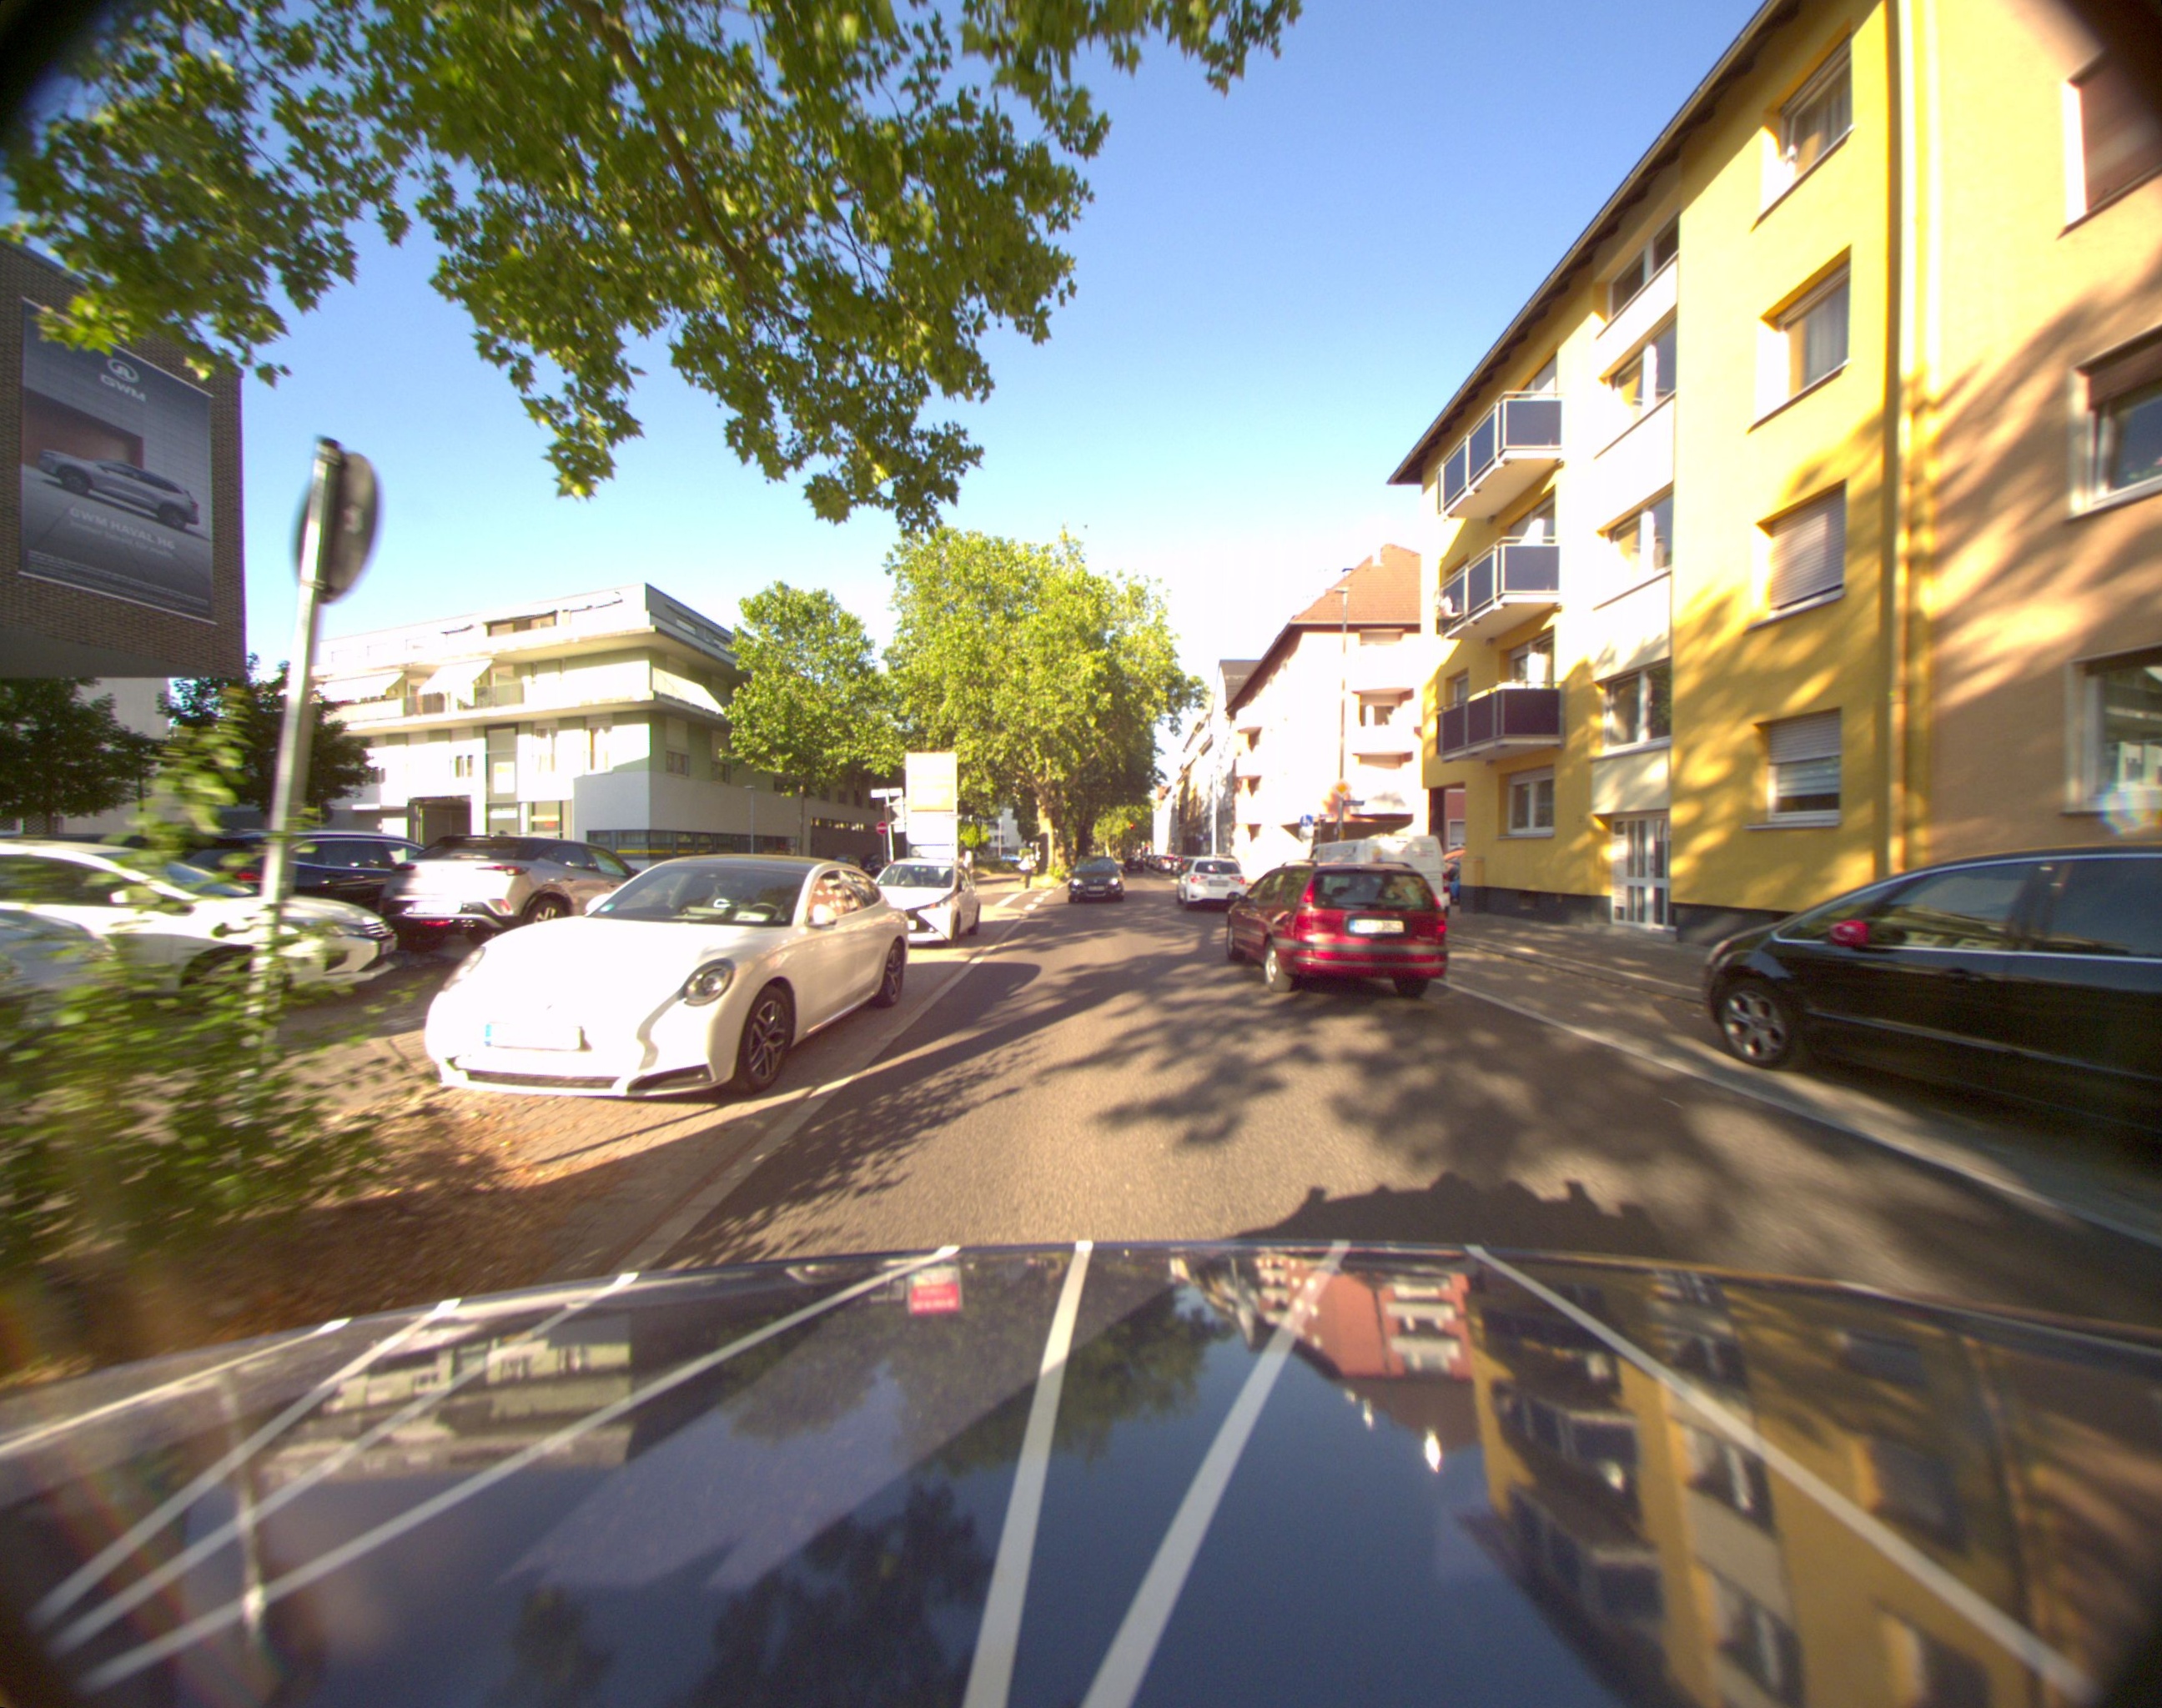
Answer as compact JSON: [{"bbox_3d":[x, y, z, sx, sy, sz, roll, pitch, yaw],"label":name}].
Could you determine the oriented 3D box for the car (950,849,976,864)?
[{"bbox_3d":[-12.214,0.241,78.641,1.863,1.534,4.320,0,0,2],"label":"car"}]

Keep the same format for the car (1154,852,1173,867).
[{"bbox_3d":[8.311,0.543,76.969,1.681,1.487,3.872,-2,0,3],"label":"car"}]

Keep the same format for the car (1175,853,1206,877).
[{"bbox_3d":[7.112,0.685,49.620,1.681,1.478,3.602,-2,0,3],"label":"car"}]

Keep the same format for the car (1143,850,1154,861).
[{"bbox_3d":[11.328,0.184,127.538,1.668,1.808,4.006,-2,0,4],"label":"car"}]

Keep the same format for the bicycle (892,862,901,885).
[{"bbox_3d":[-8.557,0.888,35.310,0.384,0.998,1.484,0,1,-14],"label":"bicycle"}]

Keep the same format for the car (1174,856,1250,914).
[{"bbox_3d":[3.750,0.838,22.380,1.643,1.515,3.934,-1,0,1],"label":"car"}]

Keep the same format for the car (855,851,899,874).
[{"bbox_3d":[-13.926,0.550,52.033,1.863,1.543,3.760,0,0,2],"label":"car"}]

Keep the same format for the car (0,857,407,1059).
[{"bbox_3d":[-8.616,0.808,6.643,3.826,1.536,1.658,0,1,-32],"label":"car"}]

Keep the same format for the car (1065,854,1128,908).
[{"bbox_3d":[0.588,0.796,24.761,1.844,1.536,4.525,-2,0,3],"label":"car"}]

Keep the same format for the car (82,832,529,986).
[{"bbox_3d":[-10.269,0.611,10.695,1.830,1.721,4.367,0,0,-1],"label":"car"}]

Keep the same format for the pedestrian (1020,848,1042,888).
[{"bbox_3d":[-2.229,0.631,33.717,0.771,1.751,0.662,2,1,-18],"label":"pedestrian"}]

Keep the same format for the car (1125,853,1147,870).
[{"bbox_3d":[4.975,0.646,69.240,1.775,1.470,4.322,-2,0,2],"label":"car"}]

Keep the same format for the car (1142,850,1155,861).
[{"bbox_3d":[10.890,0.206,121.943,1.910,1.663,4.494,-2,0,6],"label":"car"}]

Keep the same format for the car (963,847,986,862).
[{"bbox_3d":[-12.271,0.056,87.901,1.909,1.760,4.320,0,0,2],"label":"car"}]

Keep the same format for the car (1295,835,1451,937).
[{"bbox_3d":[6.220,0.595,16.895,1.738,1.896,5.210,-1,0,3],"label":"car"}]

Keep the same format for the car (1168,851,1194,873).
[{"bbox_3d":[7.940,0.641,60.403,1.681,1.632,3.985,-2,0,3],"label":"car"}]

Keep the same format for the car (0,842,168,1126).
[{"bbox_3d":[-8.118,0.704,4.034,3.826,1.600,1.737,1,0,-33],"label":"car"}]

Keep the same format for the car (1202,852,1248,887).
[{"bbox_3d":[6.923,0.708,36.859,1.681,1.515,4.021,-2,0,3],"label":"car"}]

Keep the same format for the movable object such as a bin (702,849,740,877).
[{"bbox_3d":[-18.918,0.467,39.991,1.195,1.454,1.409,0,1,14],"label":"movable object such as a bin"}]

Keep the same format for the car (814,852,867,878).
[{"bbox_3d":[-14.209,0.627,45.120,1.864,1.460,4.123,0,0,0],"label":"car"}]

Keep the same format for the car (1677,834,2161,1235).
[{"bbox_3d":[5.700,0.792,3.876,1.749,1.777,4.549,-2,0,0],"label":"car"}]

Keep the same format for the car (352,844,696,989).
[{"bbox_3d":[-7.445,0.709,10.801,1.756,1.660,4.158,0,0,1],"label":"car"}]

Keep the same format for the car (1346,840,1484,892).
[{"bbox_3d":[13.543,0.466,31.026,4.757,2.002,1.920,0,1,3],"label":"car"}]

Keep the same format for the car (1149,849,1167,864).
[{"bbox_3d":[8.393,0.221,82.957,1.681,1.575,4.200,-2,0,3],"label":"car"}]

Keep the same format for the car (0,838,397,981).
[{"bbox_3d":[-12.667,0.641,11.022,1.731,1.675,4.180,0,0,-1],"label":"car"}]

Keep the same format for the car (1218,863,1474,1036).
[{"bbox_3d":[2.890,0.927,9.364,1.667,1.515,4.412,1,0,1],"label":"car"}]

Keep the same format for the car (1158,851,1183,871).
[{"bbox_3d":[7.729,0.576,66.034,1.912,1.632,4.578,-2,0,3],"label":"car"}]

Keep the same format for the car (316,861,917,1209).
[{"bbox_3d":[-2.828,0.922,6.072,1.814,1.530,4.583,3,1,2],"label":"car"}]

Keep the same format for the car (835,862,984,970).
[{"bbox_3d":[-2.807,0.942,13.278,1.639,1.459,4.020,2,1,0],"label":"car"}]

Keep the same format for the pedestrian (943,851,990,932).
[{"bbox_3d":[-2.496,0.797,16.571,0.723,1.713,0.692,0,1,-44],"label":"pedestrian"}]

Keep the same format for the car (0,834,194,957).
[{"bbox_3d":[-16.001,0.575,10.799,1.880,1.723,4.180,0,0,-1],"label":"car"}]

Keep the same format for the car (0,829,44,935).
[{"bbox_3d":[-18.658,0.456,10.812,1.990,1.723,4.181,0,0,2],"label":"car"}]
